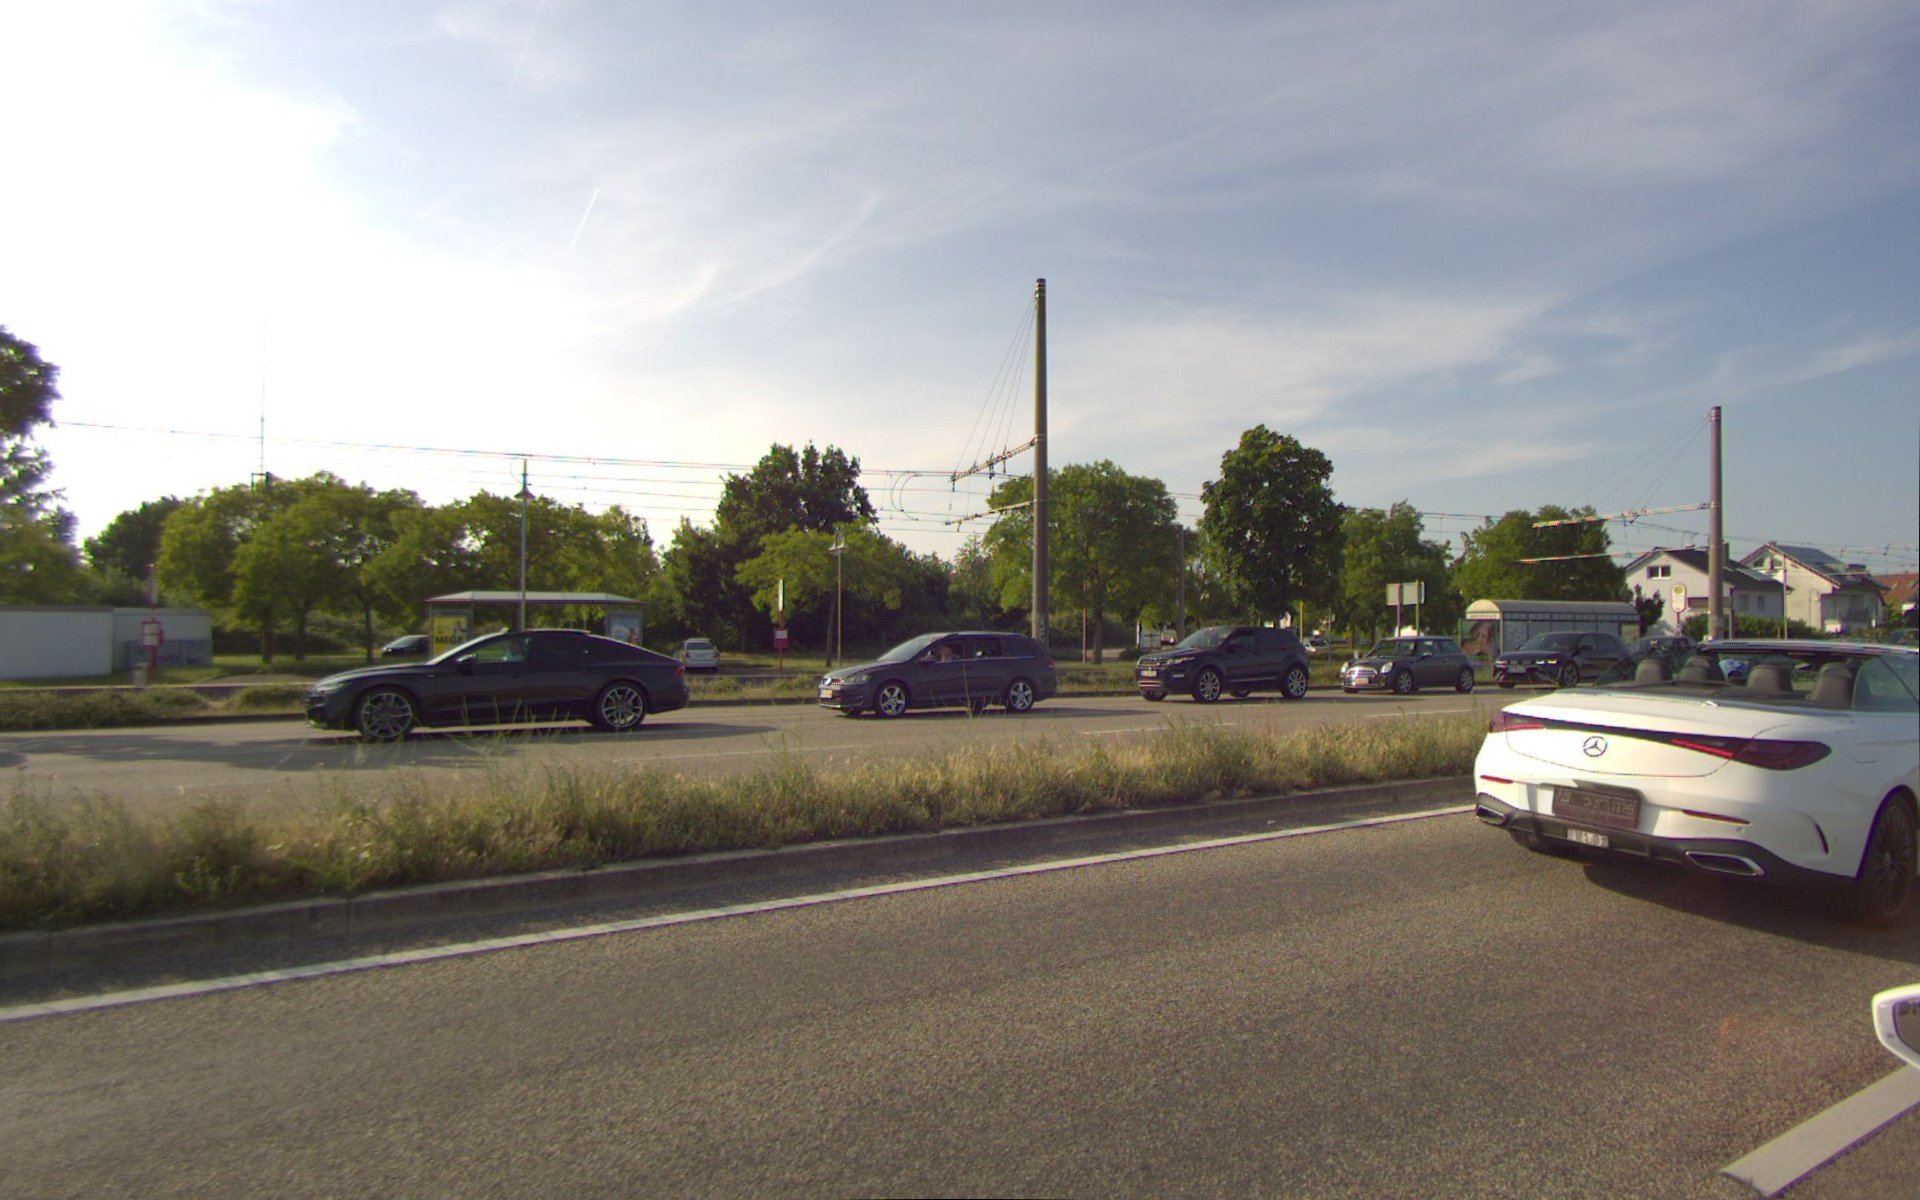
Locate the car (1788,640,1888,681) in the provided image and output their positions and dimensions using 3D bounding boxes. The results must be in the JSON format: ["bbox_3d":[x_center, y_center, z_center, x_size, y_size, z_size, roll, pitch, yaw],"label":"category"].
[{"bbox_3d":[33.198,2.264,37.963,4.009,1.450,1.653,2,-3,-30],"label":"car"}]

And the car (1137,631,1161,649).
[{"bbox_3d":[15.295,3.267,81.313,1.699,1.384,3.626,-1,-4,7],"label":"car"}]

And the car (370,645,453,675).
[{"bbox_3d":[-30.751,3.347,56.483,1.921,1.432,4.160,2,0,9],"label":"car"}]

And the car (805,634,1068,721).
[{"bbox_3d":[-0.369,1.334,18.001,4.488,1.399,1.653,2,-3,-31],"label":"car"}]

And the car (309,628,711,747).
[{"bbox_3d":[-6.161,1.158,14.139,4.917,1.433,1.653,2,-3,-31],"label":"car"}]

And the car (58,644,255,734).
[{"bbox_3d":[-17.321,1.852,21.919,1.968,1.573,3.985,1,0,-17],"label":"car"}]

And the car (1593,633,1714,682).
[{"bbox_3d":[21.669,1.788,31.374,3.760,1.450,1.653,2,-3,-30],"label":"car"}]

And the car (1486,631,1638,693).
[{"bbox_3d":[16.699,1.689,27.811,4.493,1.583,1.653,2,-3,-31],"label":"car"}]

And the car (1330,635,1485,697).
[{"bbox_3d":[11.159,1.619,24.998,3.760,1.450,1.653,2,-3,-30],"label":"car"}]

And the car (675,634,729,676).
[{"bbox_3d":[-12.133,2.554,47.138,1.970,1.684,3.980,1,0,-21],"label":"car"}]

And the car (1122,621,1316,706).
[{"bbox_3d":[5.693,1.362,21.956,4.180,1.709,1.653,2,-3,-30],"label":"car"}]

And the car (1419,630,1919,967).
[{"bbox_3d":[5.206,0.922,6.242,4.891,1.355,1.763,2,0,-30],"label":"car"}]

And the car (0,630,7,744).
[{"bbox_3d":[-13.367,0.981,10.639,4.416,1.399,1.653,2,-3,-31],"label":"car"}]

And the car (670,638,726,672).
[{"bbox_3d":[-14.652,3.050,56.420,1.960,1.684,4.000,2,0,1],"label":"car"}]

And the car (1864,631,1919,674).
[{"bbox_3d":[39.525,2.151,41.351,5.192,1.705,1.906,2,-3,-31],"label":"car"}]

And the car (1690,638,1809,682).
[{"bbox_3d":[27.358,2.061,34.782,4.662,1.450,1.653,2,-3,-31],"label":"car"}]
